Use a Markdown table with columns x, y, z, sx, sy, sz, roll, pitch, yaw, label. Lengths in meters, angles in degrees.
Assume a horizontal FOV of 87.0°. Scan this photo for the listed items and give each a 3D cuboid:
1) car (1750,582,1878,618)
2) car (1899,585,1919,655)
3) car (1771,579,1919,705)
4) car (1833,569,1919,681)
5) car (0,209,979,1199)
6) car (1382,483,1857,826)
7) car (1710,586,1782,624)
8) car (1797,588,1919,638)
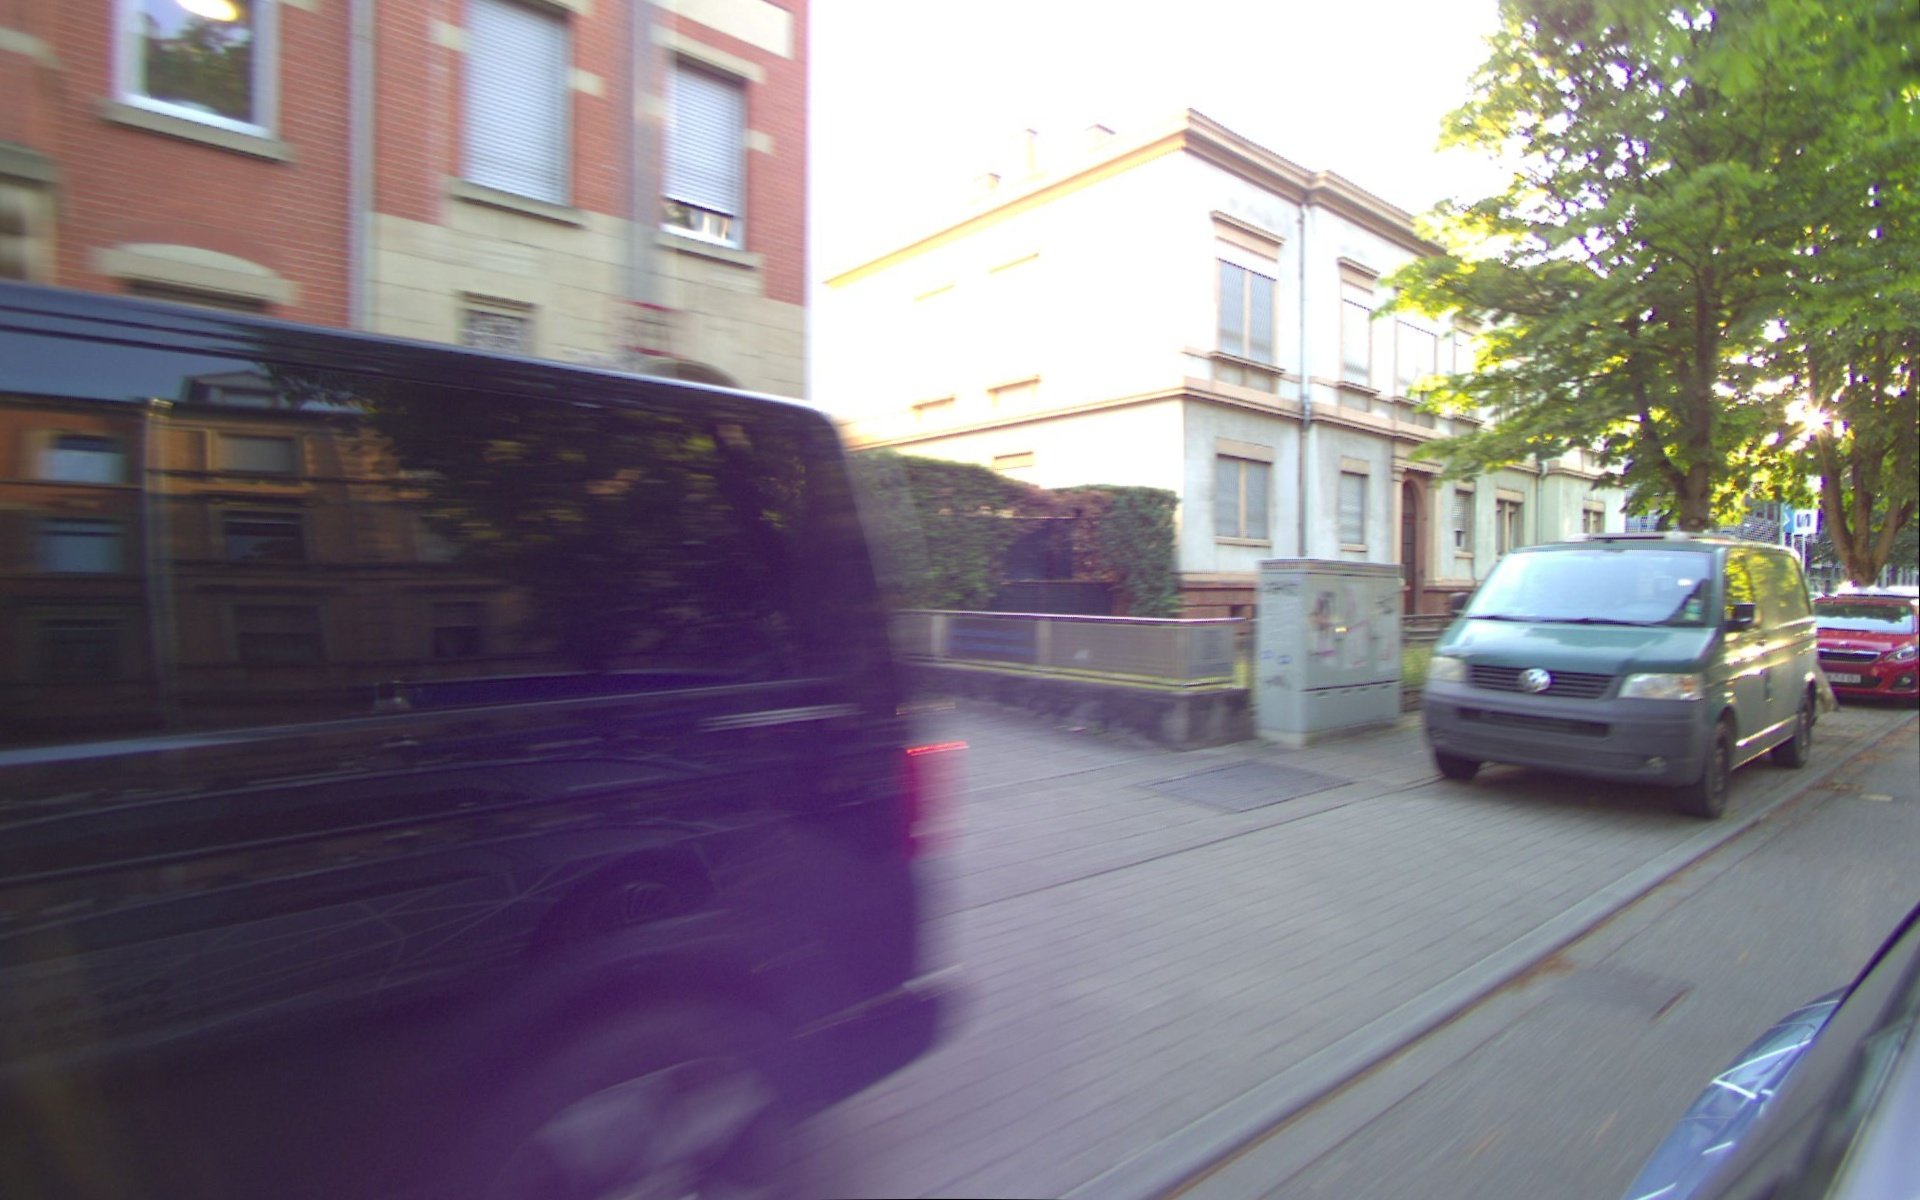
| x | y | z | sx | sy | sz | roll | pitch | yaw | label |
| --- | --- | --- | --- | --- | --- | --- | --- | --- | --- |
| 41.723 | -0.020 | 49.537 | 1.839 | 1.664 | 4.584 | 1 | 0 | -41 | car |
| 23.549 | 0.506 | 23.715 | 3.891 | 1.576 | 1.735 | 1 | 3 | -40 | car |
| 12.946 | 0.529 | 14.323 | 3.630 | 1.518 | 1.667 | 1 | 3 | -42 | car |
| 16.199 | 0.394 | 17.405 | 1.664 | 1.699 | 4.057 | 4 | 3 | 42 | car |
| -2.282 | 0.441 | 1.559 | 4.534 | 1.966 | 1.842 | 1 | 3 | -42 | car |
| 5.669 | 0.294 | 8.422 | 4.744 | 2.084 | 1.959 | 1 | 3 | -40 | car |
| 36.324 | 0.196 | 46.747 | 4.053 | 1.626 | 1.717 | -1 | 1 | -39 | car |
| 29.718 | 0.412 | 32.882 | 1.781 | 1.520 | 4.166 | 1 | 0 | 5 | car |
